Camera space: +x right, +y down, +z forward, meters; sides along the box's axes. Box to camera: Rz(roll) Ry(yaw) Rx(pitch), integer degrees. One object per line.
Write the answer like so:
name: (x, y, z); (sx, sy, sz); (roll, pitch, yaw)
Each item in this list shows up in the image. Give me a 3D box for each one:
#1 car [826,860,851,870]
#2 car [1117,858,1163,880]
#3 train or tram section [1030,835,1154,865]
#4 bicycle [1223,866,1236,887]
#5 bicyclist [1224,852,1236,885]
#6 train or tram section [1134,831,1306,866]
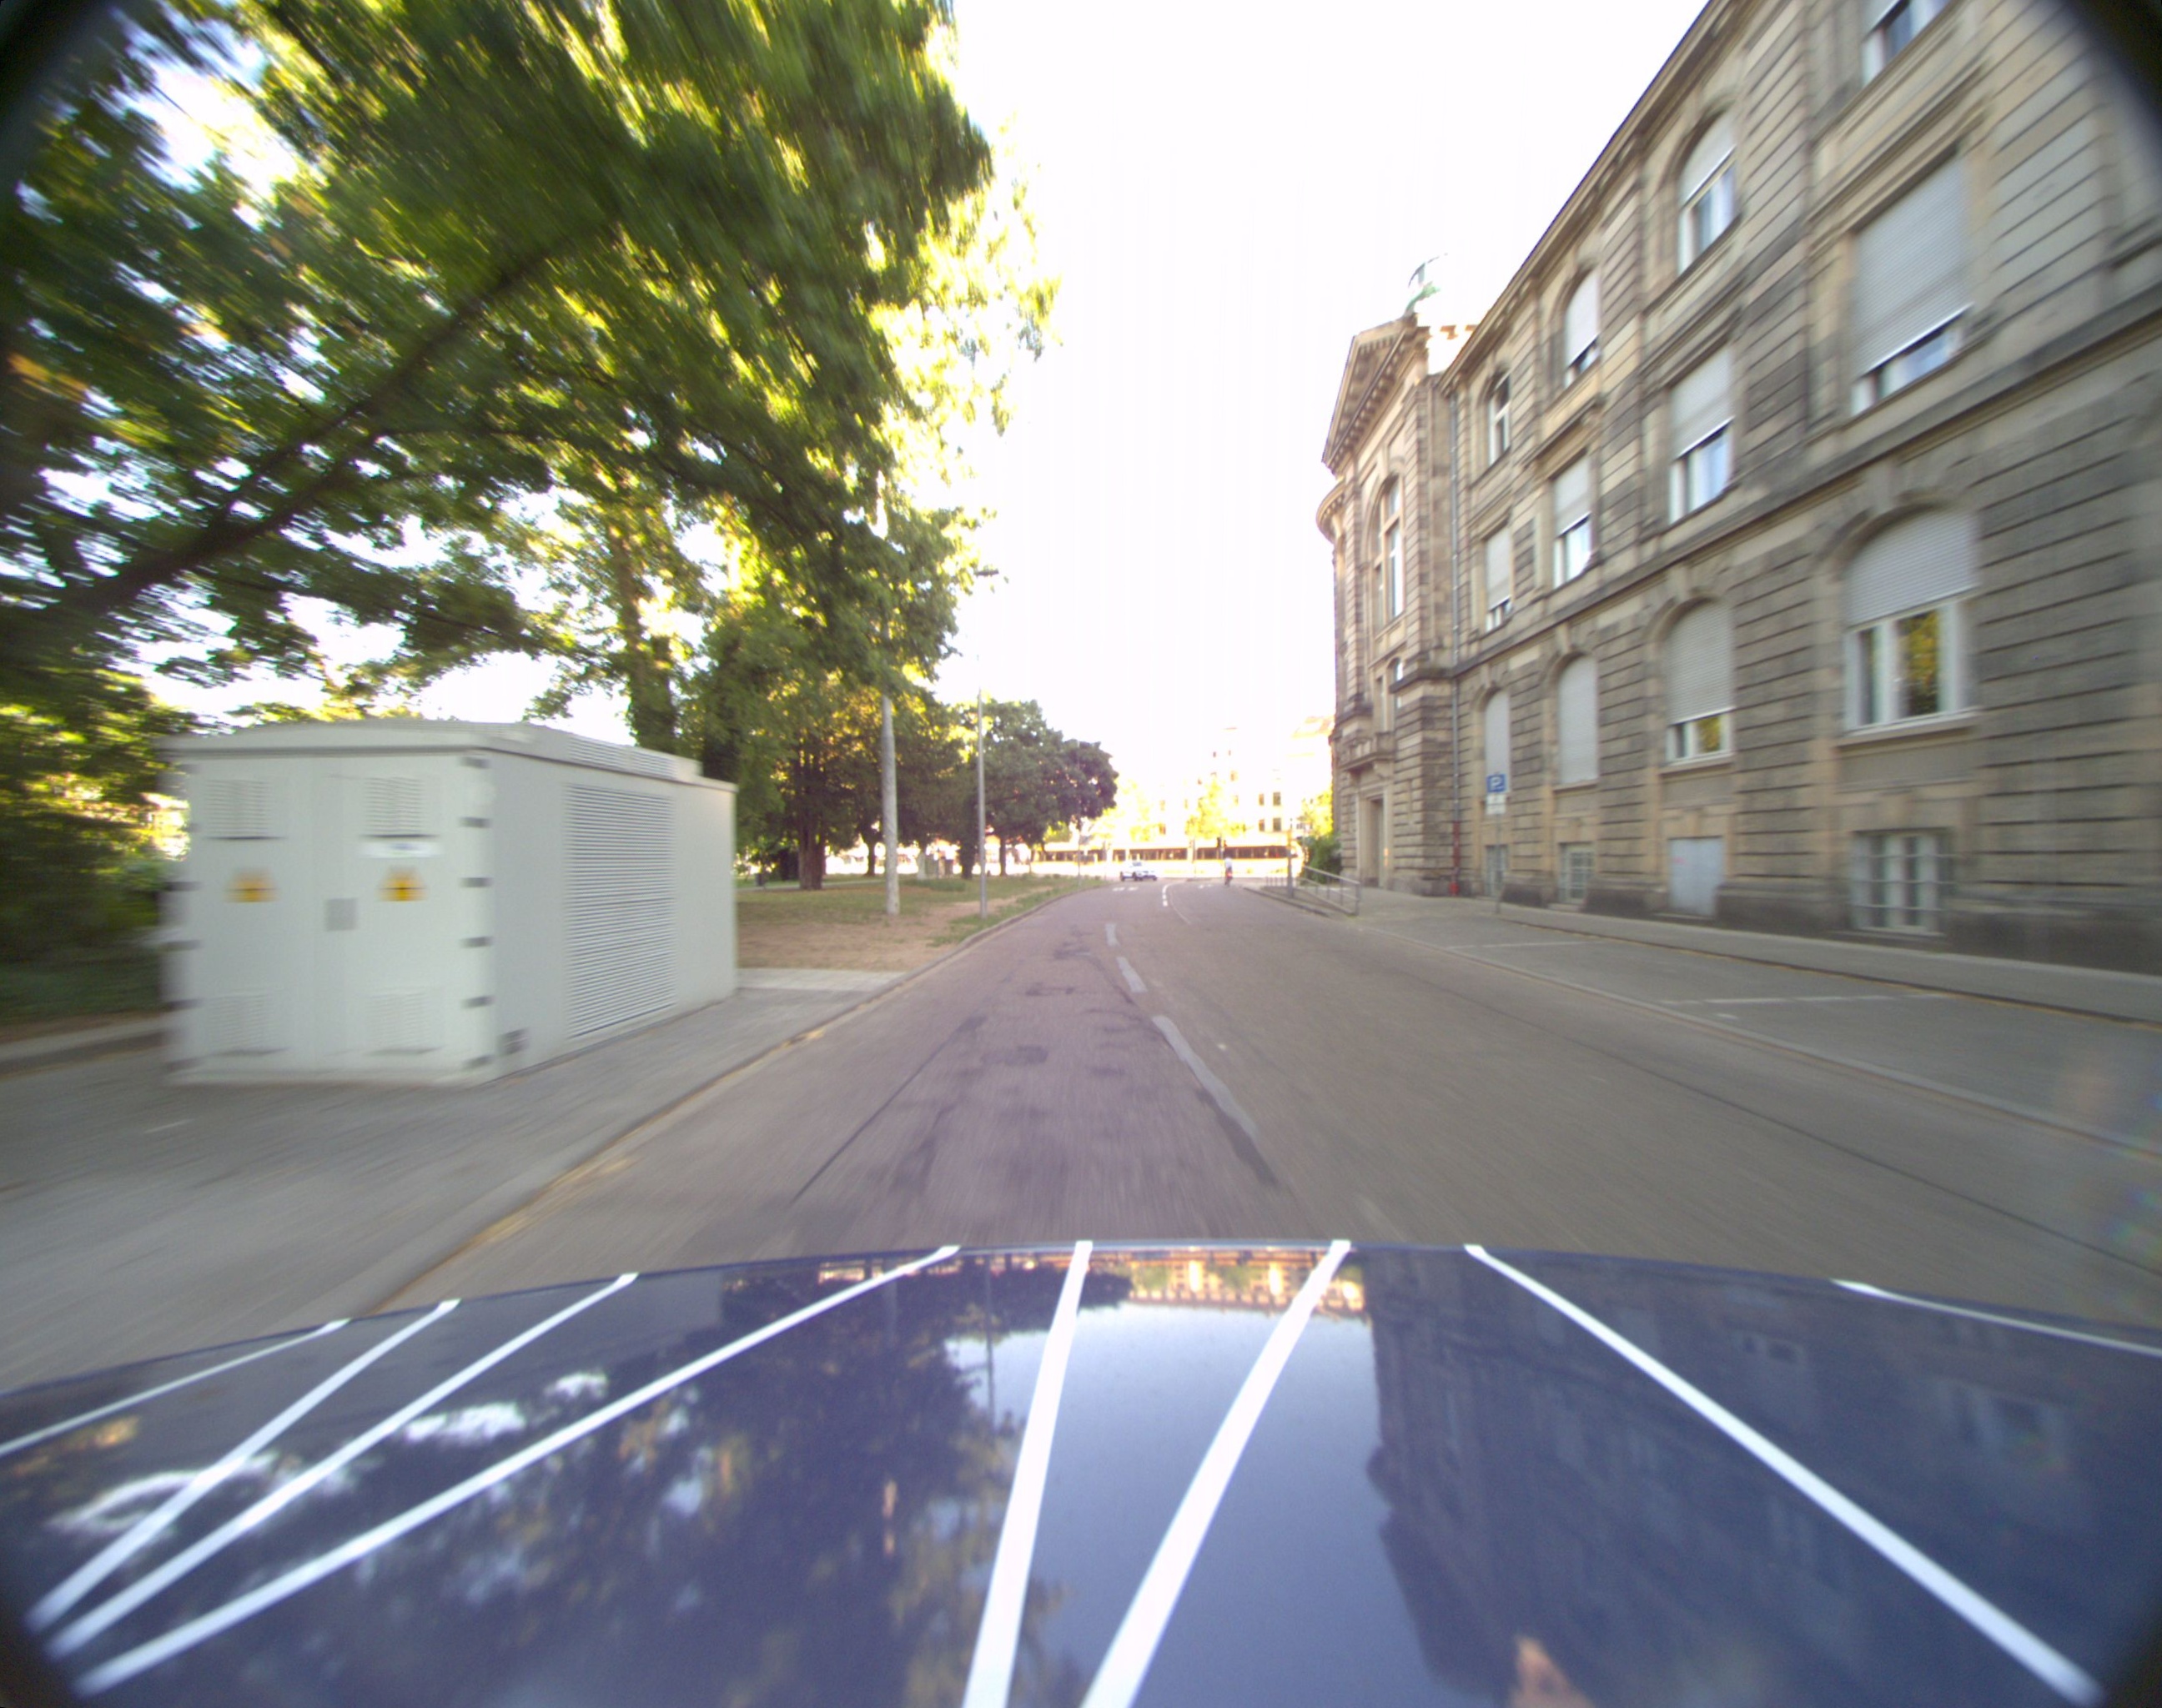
car: (-43.601, 2.019, 136.601); (4.880, 1.786, 2.004); (-1, 0, 41)
car: (4.428, 1.123, 57.922); (1.836, 1.528, 4.272); (-1, 0, -20)
train or tram section: (1.028, -0.394, 96.436); (17.427, 3.538, 3.129); (0, 0, 38)
bicycle: (8.229, 1.233, 42.007); (0.663, 1.064, 2.155); (0, 0, 11)
bicyclist: (8.231, 0.775, 42.007); (0.646, 1.796, 0.781); (0, 0, 11)
train or tram section: (15.026, -0.508, 85.330); (19.874, 3.538, 3.129); (-1, 0, 39)
